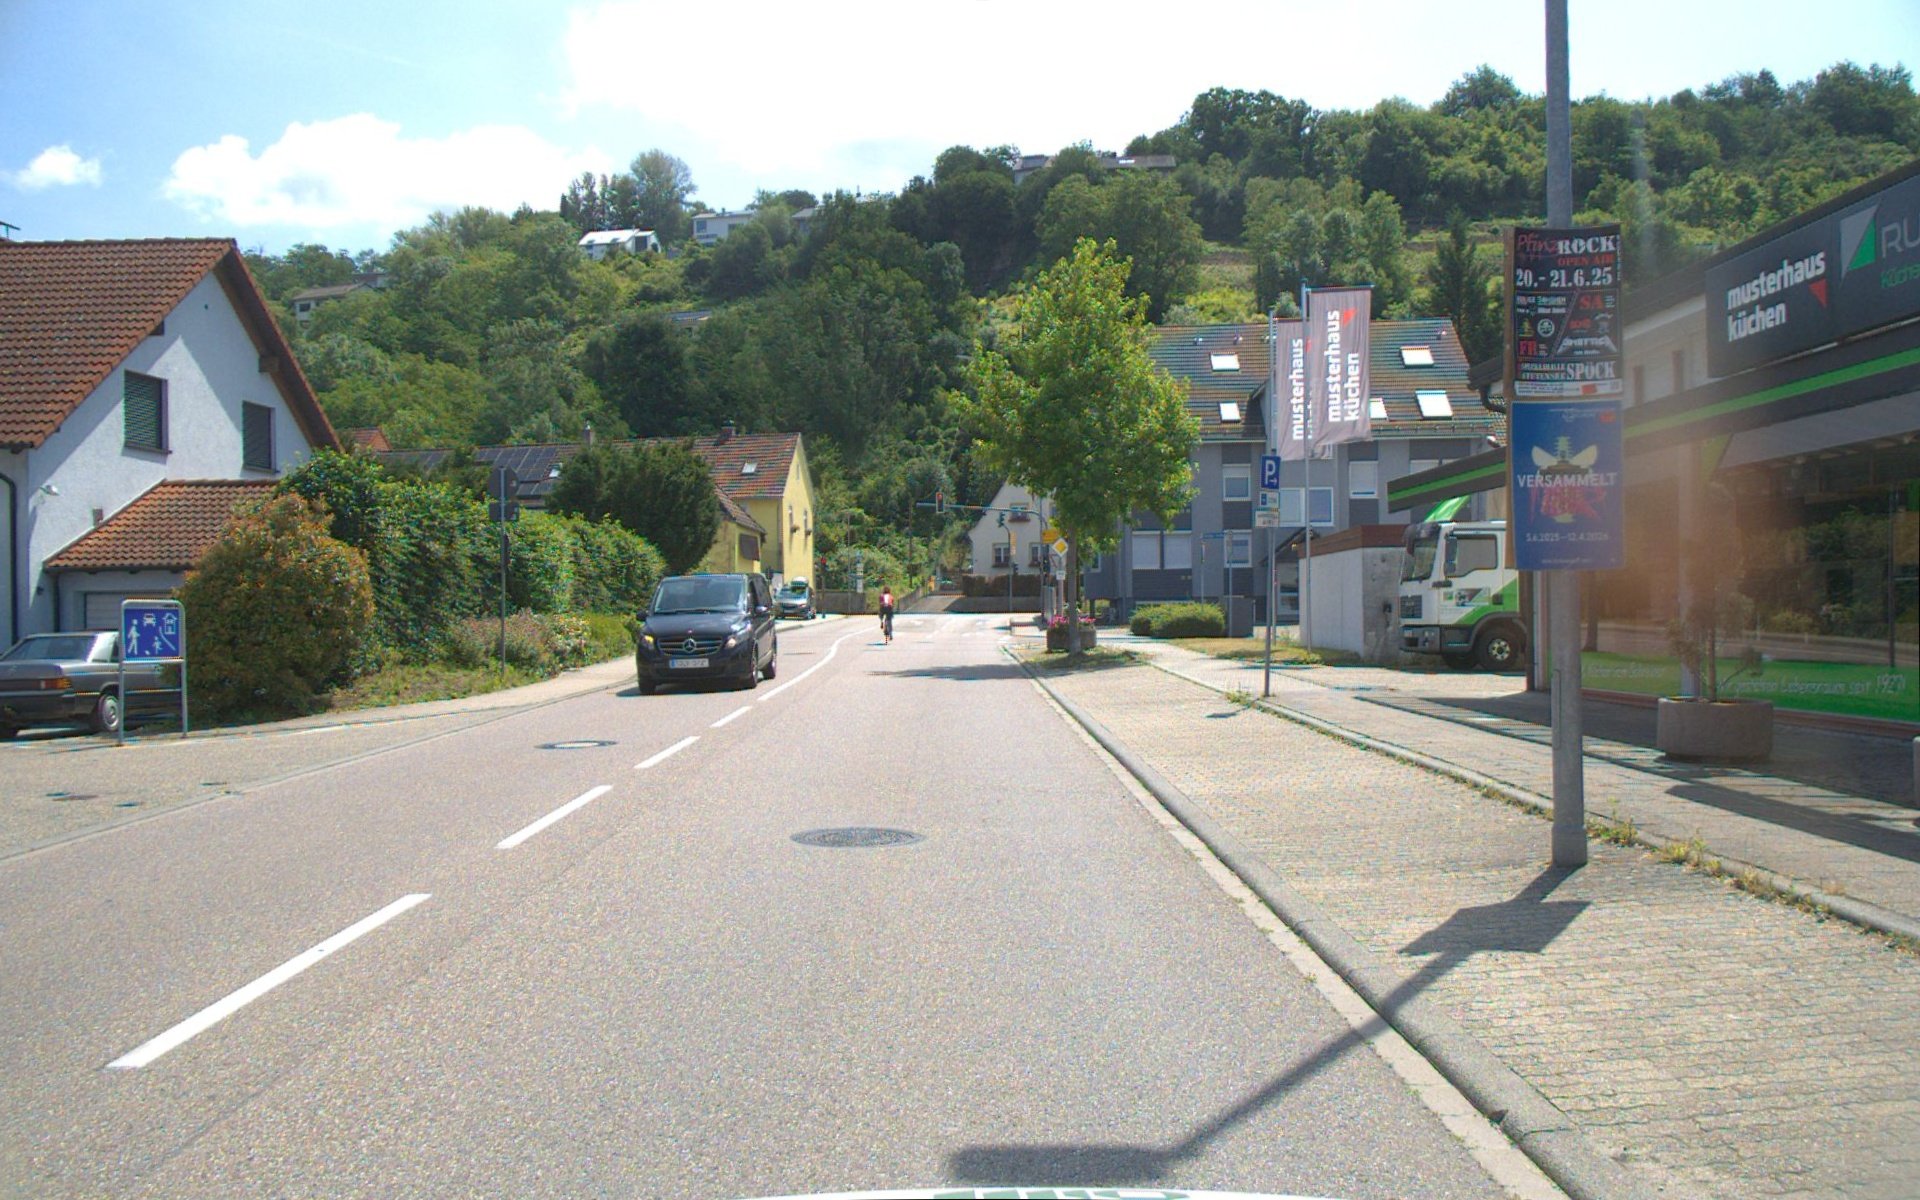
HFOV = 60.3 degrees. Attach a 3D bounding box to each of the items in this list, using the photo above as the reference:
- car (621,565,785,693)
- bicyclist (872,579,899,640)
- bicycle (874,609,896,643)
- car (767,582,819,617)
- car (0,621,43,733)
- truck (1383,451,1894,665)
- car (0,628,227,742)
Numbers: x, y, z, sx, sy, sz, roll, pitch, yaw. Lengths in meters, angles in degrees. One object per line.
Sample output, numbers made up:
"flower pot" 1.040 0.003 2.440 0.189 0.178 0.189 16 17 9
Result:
"car" -4.201 0.435 27.832 1.953 1.884 5.069 -2 0 -1
"bicyclist" -2.111 0.264 46.988 0.745 1.693 0.868 0 0 -2
"bicycle" -2.133 0.732 47.063 0.617 0.920 1.656 0 0 -2
"car" -8.251 -0.031 81.912 1.952 1.664 4.631 1 0 1
"car" -14.540 1.147 22.640 1.730 1.577 3.999 -2 0 -1
"truck" 11.900 -0.700 29.495 8.004 3.635 2.677 0 -1 -1
"car" -12.077 1.139 23.220 1.626 1.308 4.001 -3 0 2
